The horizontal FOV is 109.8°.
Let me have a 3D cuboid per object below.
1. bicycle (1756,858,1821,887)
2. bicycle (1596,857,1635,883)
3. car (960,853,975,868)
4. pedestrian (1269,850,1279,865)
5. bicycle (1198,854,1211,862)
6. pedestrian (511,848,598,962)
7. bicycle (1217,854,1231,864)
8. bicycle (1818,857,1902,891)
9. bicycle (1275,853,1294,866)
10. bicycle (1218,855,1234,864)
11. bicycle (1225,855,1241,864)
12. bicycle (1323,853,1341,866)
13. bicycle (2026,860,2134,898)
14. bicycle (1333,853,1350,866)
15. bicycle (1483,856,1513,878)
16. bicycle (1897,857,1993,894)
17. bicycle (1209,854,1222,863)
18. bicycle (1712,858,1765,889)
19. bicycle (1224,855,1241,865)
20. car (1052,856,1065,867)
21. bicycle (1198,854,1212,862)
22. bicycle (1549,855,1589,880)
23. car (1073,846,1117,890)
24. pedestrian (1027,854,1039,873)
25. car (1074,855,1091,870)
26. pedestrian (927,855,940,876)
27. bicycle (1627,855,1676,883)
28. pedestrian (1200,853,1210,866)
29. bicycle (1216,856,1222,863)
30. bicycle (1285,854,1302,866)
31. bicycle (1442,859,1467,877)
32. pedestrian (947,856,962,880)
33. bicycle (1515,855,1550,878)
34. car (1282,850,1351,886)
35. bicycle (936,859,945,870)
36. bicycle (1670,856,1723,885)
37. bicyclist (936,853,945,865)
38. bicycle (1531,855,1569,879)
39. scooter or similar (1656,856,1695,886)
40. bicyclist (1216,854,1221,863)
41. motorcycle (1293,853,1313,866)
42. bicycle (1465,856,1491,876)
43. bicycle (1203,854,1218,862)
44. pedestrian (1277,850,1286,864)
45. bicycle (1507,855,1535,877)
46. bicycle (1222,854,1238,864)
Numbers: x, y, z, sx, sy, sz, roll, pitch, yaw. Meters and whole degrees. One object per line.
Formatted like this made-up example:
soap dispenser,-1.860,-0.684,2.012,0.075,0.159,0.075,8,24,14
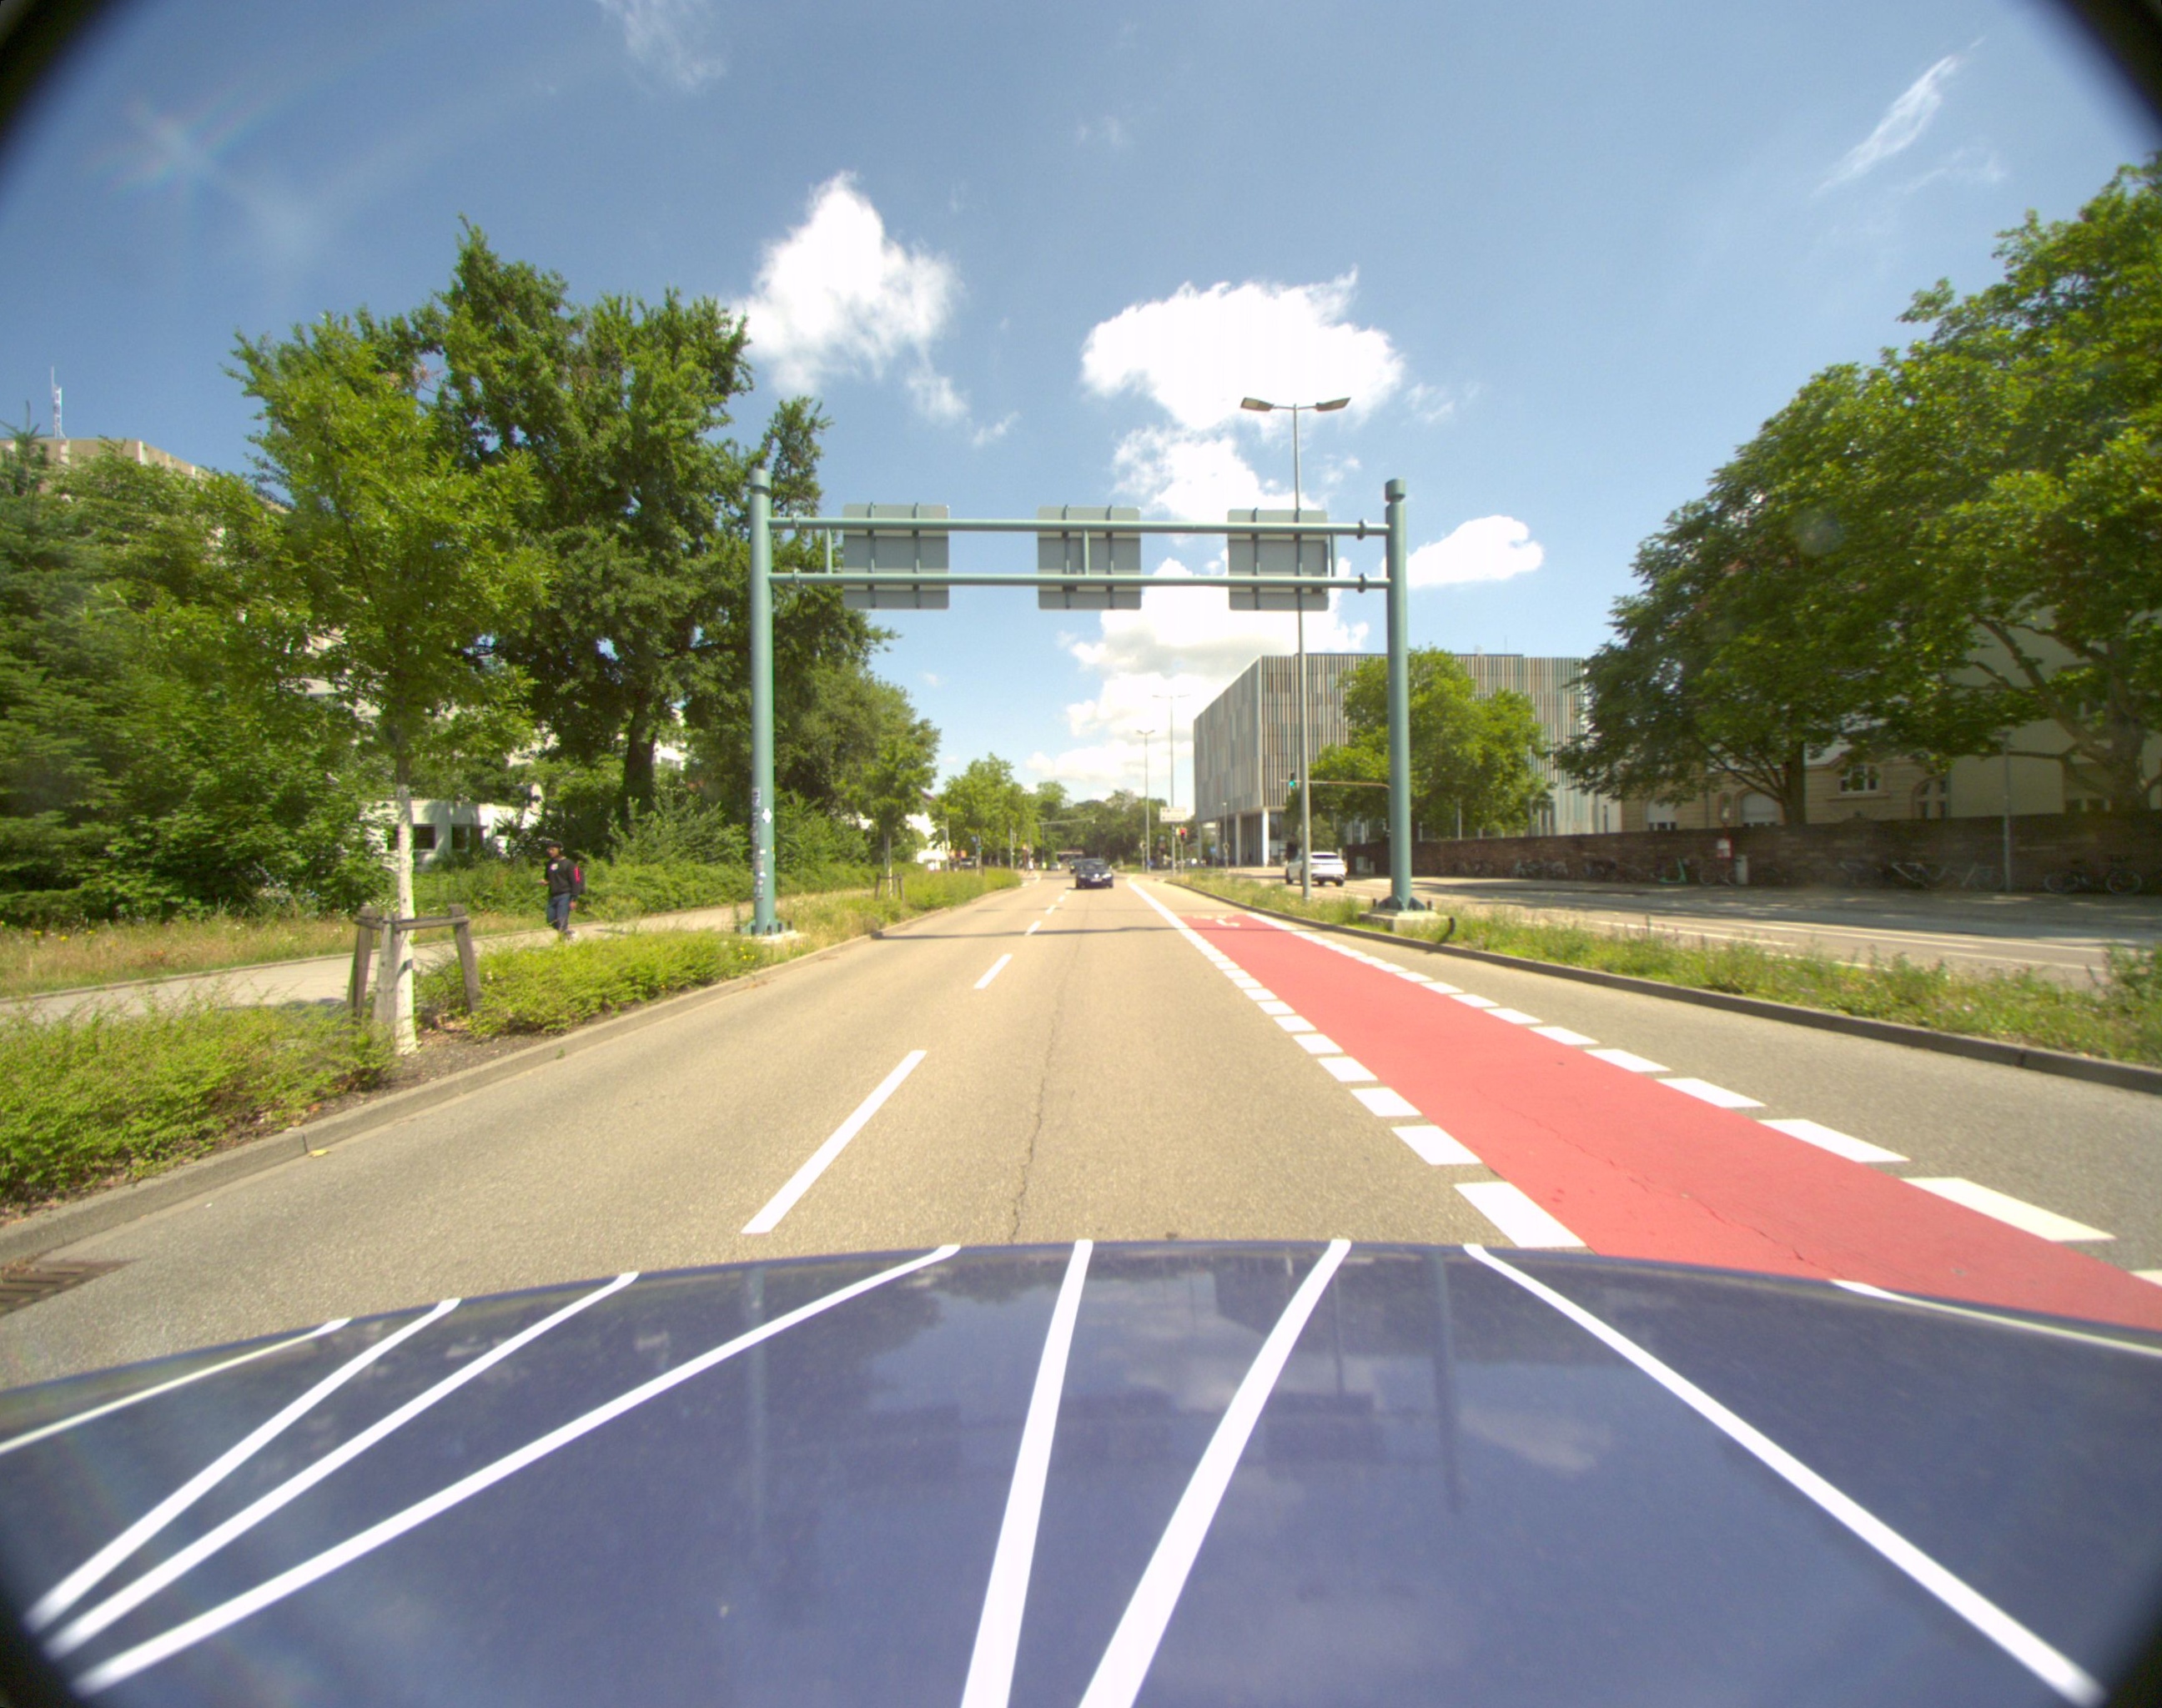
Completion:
bicycle,25.247,0.650,27.151,0.482,1.002,1.800,-1,0,-8
bicycle,24.000,0.708,34.124,0.403,1.145,1.593,-1,0,-11
car,-15.824,0.845,106.293,2.000,2.042,4.226,-1,0,-8
pedestrian,24.870,0.478,97.839,0.969,1.914,0.880,-1,1,30
bicycle,23.191,0.682,142.733,2.302,1.486,0.657,-1,0,1
pedestrian,-8.167,0.768,11.817,0.718,1.711,0.837,-1,1,2
bicycle,23.835,0.831,127.039,2.200,1.486,0.621,-1,0,1
bicycle,25.613,0.638,25.031,0.545,1.041,1.948,-1,0,-11
bicycle,26.352,0.709,98.368,0.808,1.634,3.422,-1,0,42
bicycle,23.682,0.864,123.943,2.511,1.486,0.621,-1,0,1
bicycle,24.266,0.882,121.260,2.509,1.486,0.730,-1,0,10
bicycle,31.118,0.634,94.069,0.997,1.543,3.422,-1,0,37
bicycle,26.442,0.637,20.144,0.545,0.944,1.664,-1,0,-11
bicycle,31.942,0.634,93.144,0.997,1.543,3.422,-1,0,37
bicycle,23.009,0.708,41.966,0.623,1.145,1.593,-1,0,-8
bicycle,25.948,0.631,22.875,0.545,1.041,1.894,-1,0,-11
bicycle,23.614,0.770,133.375,2.071,1.486,0.621,-1,0,1
bicycle,24.951,0.714,28.855,0.433,1.136,1.592,-1,0,-12
bicycle,23.978,0.898,120.255,2.451,1.486,0.621,-1,0,1
car,-3.623,1.229,121.365,1.913,1.772,3.999,-1,0,-3
bicycle,23.094,0.696,141.447,2.511,1.486,0.621,-1,0,1
bicycle,23.367,0.646,36.414,0.403,1.145,1.590,-1,0,-32
car,0.666,0.647,36.794,1.998,2.002,4.000,-1,0,1
pedestrian,-5.030,1.021,79.767,1.108,1.914,0.972,-1,1,4
car,0.145,0.963,86.906,1.846,1.593,3.999,-1,0,-2
pedestrian,-13.464,1.046,69.216,0.971,1.861,0.879,-1,1,-3
bicycle,24.195,0.640,32.244,0.534,1.145,1.591,-1,0,-21
pedestrian,16.145,0.720,98.957,0.972,1.619,0.878,-1,1,-8
bicycle,20.192,0.826,111.275,0.647,0.992,2.164,-1,0,3
bicycle,27.365,0.785,97.910,2.693,1.485,0.930,-1,0,-44
bicycle,22.490,0.834,45.791,0.573,1.092,1.593,-1,0,-8
pedestrian,-9.068,0.974,54.512,0.815,1.711,0.929,-1,1,2
bicycle,23.073,0.651,38.837,0.403,1.145,1.591,-1,0,-22
car,11.517,0.647,37.506,2.076,1.657,4.776,-1,0,2
bicycle,-17.140,1.281,92.624,0.885,1.244,2.164,-1,0,-7
bicycle,24.672,0.650,30.504,0.534,1.145,1.591,-1,0,-21
bicyclist,-17.120,0.580,92.379,0.972,1.436,1.076,-1,0,-6
bicycle,23.159,0.637,37.559,0.403,1.145,1.590,-1,0,-32
scooter or similar,23.906,0.674,30.578,0.433,1.145,1.191,-1,0,-20
bicyclist,20.165,0.674,111.261,0.618,1.219,0.834,-1,0,3
motorcycle,28.329,0.674,96.956,0.969,1.630,3.305,-1,0,45
bicycle,22.821,0.673,43.666,0.500,1.145,1.593,-1,0,-8
bicycle,23.200,0.751,135.939,2.511,1.486,0.621,-1,0,1
pedestrian,26.675,0.423,101.212,0.969,1.914,0.880,-1,1,27
bicycle,23.325,0.637,40.285,0.413,1.145,1.593,-1,0,-5
bicycle,24.425,0.844,124.840,2.511,1.486,0.621,-1,0,1
